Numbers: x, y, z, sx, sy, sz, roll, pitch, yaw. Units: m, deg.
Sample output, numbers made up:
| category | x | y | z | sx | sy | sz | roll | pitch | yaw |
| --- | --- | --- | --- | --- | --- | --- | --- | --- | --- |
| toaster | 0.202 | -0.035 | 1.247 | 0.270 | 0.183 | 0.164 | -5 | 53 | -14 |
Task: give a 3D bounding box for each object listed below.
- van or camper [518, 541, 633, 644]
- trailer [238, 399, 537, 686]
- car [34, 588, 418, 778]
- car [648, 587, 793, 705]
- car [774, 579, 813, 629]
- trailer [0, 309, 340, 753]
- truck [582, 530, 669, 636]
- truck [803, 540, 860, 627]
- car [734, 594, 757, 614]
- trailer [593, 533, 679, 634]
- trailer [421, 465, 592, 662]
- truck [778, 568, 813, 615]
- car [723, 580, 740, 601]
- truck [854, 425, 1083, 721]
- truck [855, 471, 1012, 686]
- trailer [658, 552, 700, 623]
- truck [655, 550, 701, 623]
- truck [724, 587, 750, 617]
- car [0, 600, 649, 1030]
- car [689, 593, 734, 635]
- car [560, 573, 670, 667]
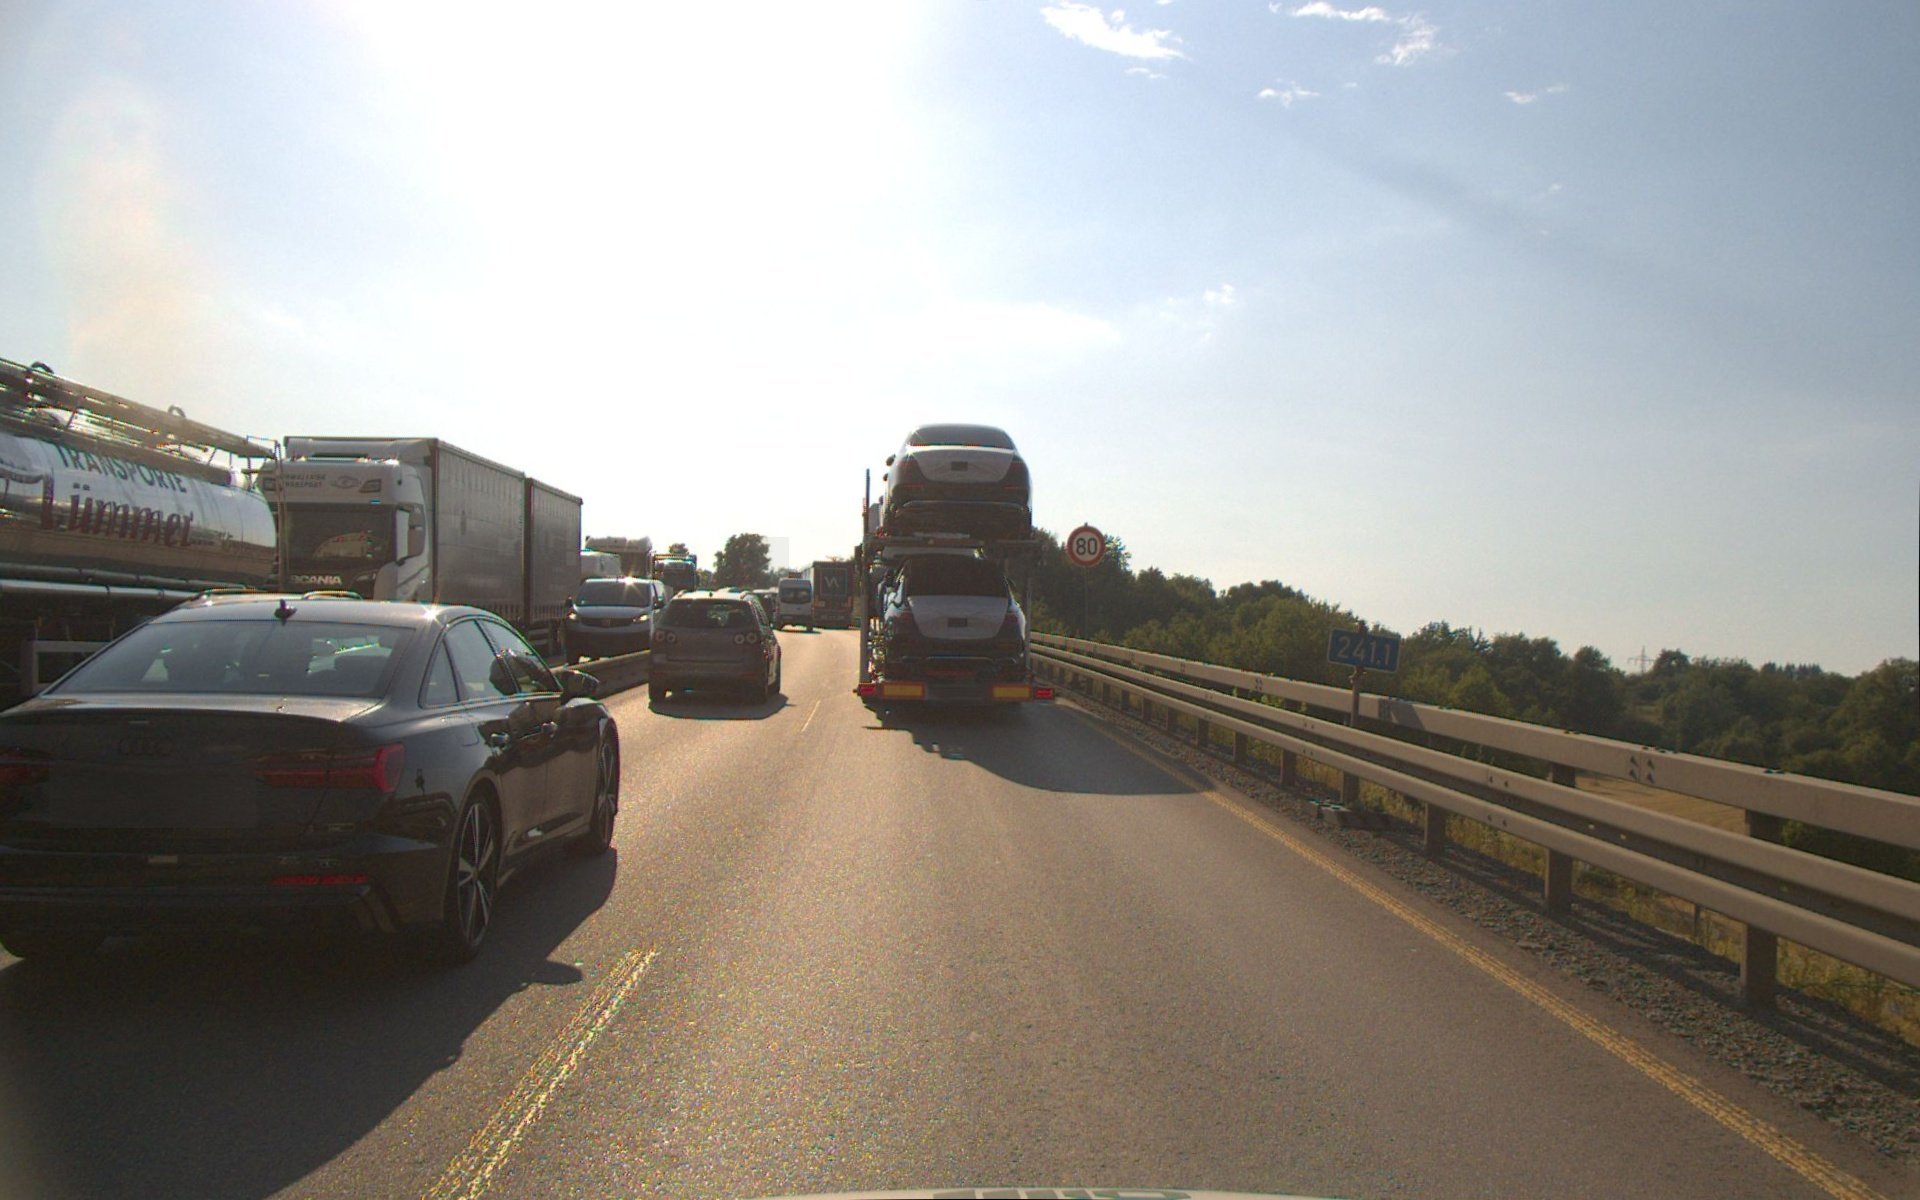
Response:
| category | x | y | z | sx | sy | sz | roll | pitch | yaw |
| --- | --- | --- | --- | --- | --- | --- | --- | --- | --- |
| van or camper | -11.807 | -0.189 | 51.366 | 2.361 | 2.942 | 7.610 | 1 | -1 | -5 |
| trailer | -10.191 | -0.836 | 30.831 | 2.427 | 4.404 | 10.503 | 1 | -1 | -3 |
| car | -6.438 | 0.667 | 15.125 | 1.595 | 1.451 | 4.655 | 1 | -1 | -3 |
| car | -3.538 | 0.663 | 25.062 | 1.657 | 1.624 | 3.999 | 1 | -1 | -1 |
| car | -8.766 | 0.244 | 87.529 | 1.883 | 2.536 | 5.403 | 1 | -1 | -5 |
| trailer | -9.550 | -0.591 | 16.742 | 2.260 | 3.856 | 12.048 | 1 | -1 | -2 |
| truck | -12.758 | -0.590 | 63.524 | 2.551 | 3.820 | 6.509 | 1 | -1 | -6 |
| truck | -8.380 | -0.954 | 106.810 | 3.223 | 5.328 | 9.921 | 1 | -1 | -7 |
| car | -19.318 | 0.361 | 149.031 | 1.790 | 1.803 | 3.997 | 1 | -1 | -3 |
| trailer | -13.451 | -0.586 | 69.642 | 2.471 | 3.790 | 13.956 | 1 | -1 | -7 |
| trailer | -10.838 | -0.762 | 40.331 | 2.395 | 4.262 | 8.535 | 1 | -1 | -5 |
| truck | -13.530 | -0.609 | 136.289 | 2.480 | 3.712 | 8.899 | 1 | -1 | -3 |
| car | -22.689 | -0.946 | 164.207 | 1.600 | 2.049 | 3.991 | 1 | -1 | -10 |
| truck | -0.211 | -0.279 | 25.403 | 2.743 | 3.558 | 10.597 | 1 | -1 | -4 |
| truck | -0.774 | -0.343 | 34.862 | 2.782 | 3.858 | 9.979 | 1 | -1 | -3 |
| trailer | -17.843 | -0.673 | 105.669 | 2.264 | 4.203 | 14.571 | 1 | -1 | -8 |
| truck | -16.659 | -0.746 | 97.995 | 2.456 | 4.137 | 5.654 | 1 | -1 | -8 |
| truck | -25.097 | 0.256 | 186.599 | 2.540 | 3.226 | 6.669 | 1 | -1 | -5 |
| car | -2.868 | 0.728 | 8.055 | 1.895 | 1.423 | 4.959 | 1 | 0 | -2 |
| car | -10.492 | 0.585 | 69.988 | 1.723 | 1.725 | 4.446 | 1 | -1 | -7 |
| car | -7.711 | 0.447 | 37.343 | 1.781 | 1.959 | 4.831 | 1 | -1 | -4 |
